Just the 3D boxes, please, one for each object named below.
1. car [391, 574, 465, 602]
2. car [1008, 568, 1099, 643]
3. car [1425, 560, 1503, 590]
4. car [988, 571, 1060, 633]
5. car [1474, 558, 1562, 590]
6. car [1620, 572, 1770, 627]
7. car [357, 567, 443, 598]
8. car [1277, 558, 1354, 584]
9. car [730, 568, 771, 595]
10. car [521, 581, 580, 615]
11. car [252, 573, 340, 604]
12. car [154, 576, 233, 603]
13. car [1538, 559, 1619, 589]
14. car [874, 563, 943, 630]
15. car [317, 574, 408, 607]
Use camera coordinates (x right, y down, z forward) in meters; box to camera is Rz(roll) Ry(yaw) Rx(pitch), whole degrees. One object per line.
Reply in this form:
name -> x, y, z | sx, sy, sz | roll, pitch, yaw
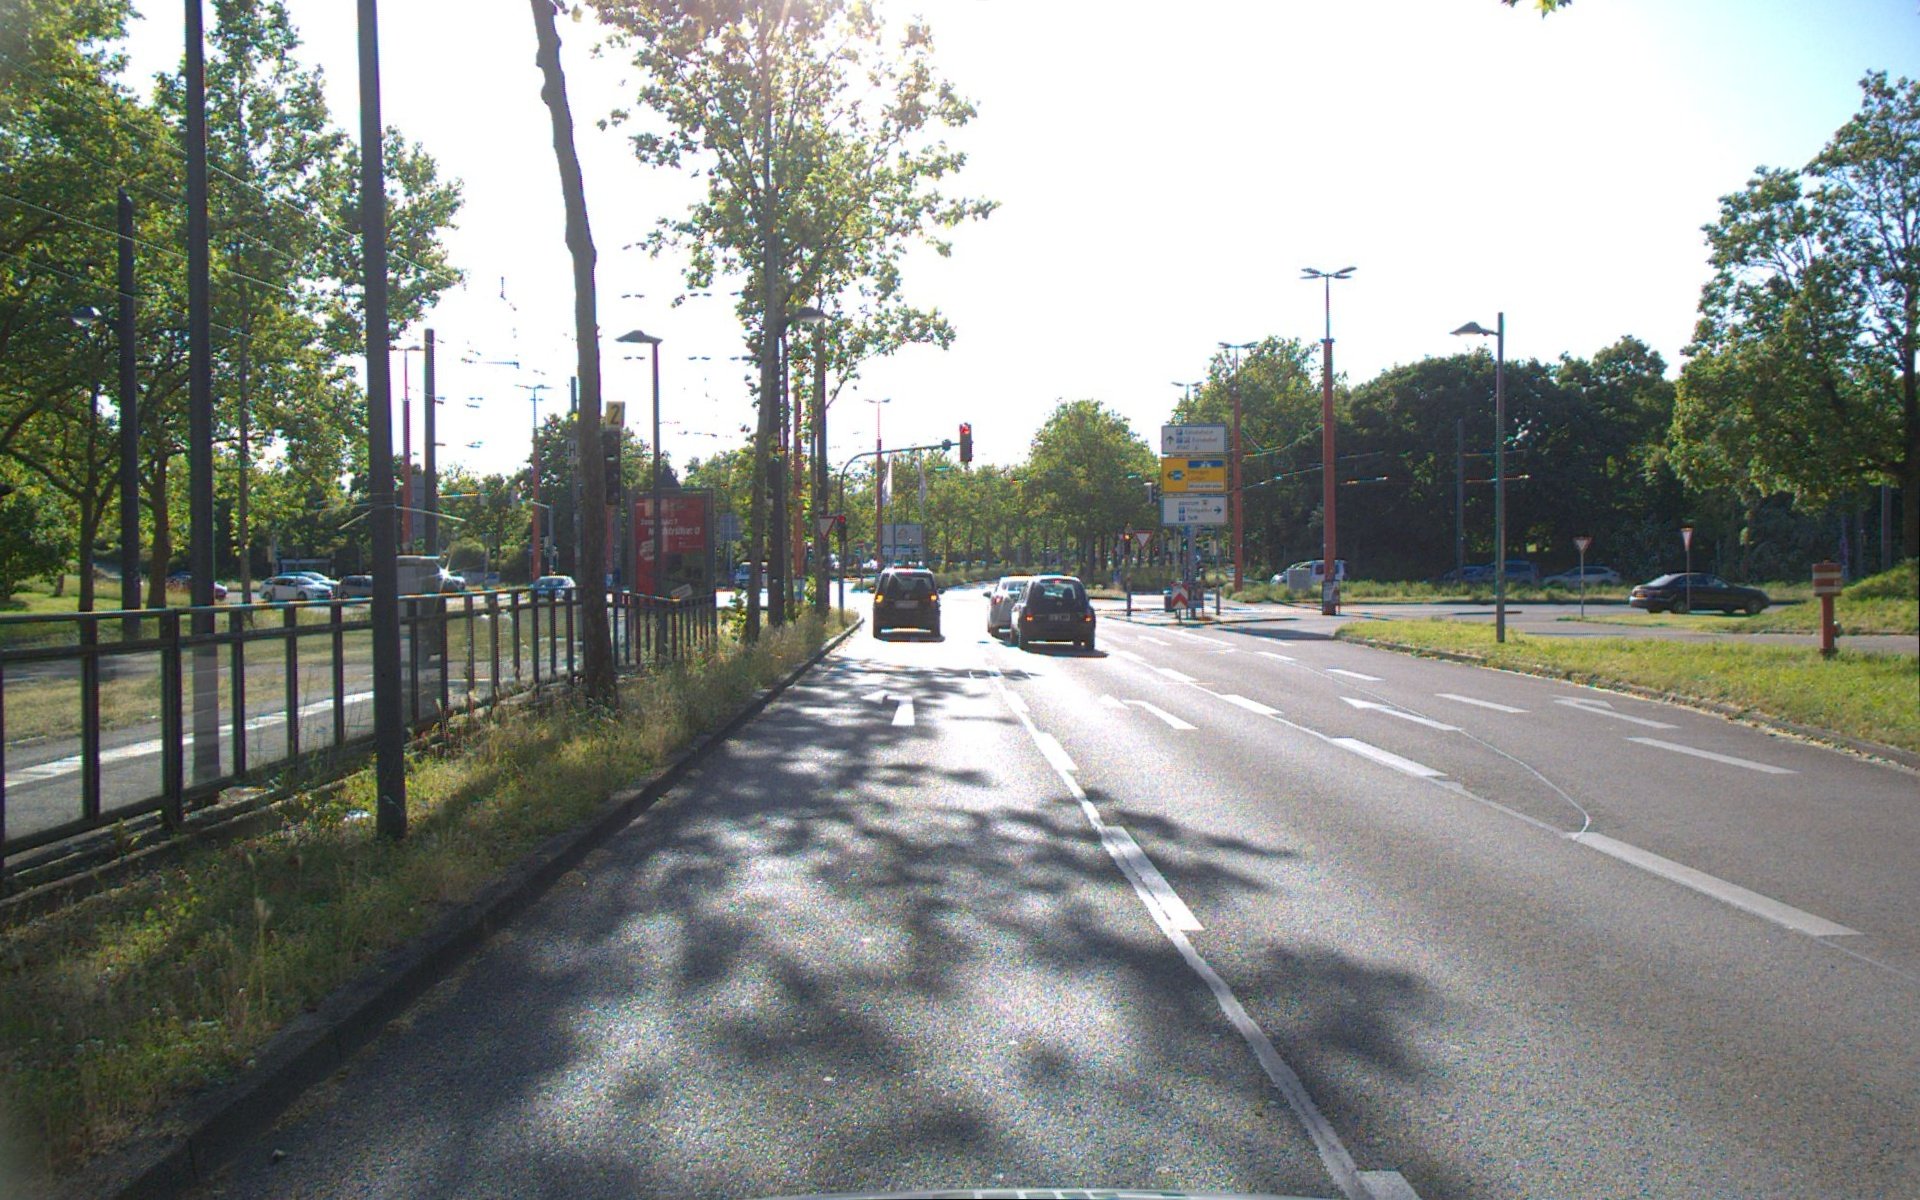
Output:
car -> -32.822, -0.746, 102.094 | 3.903, 1.649, 1.901 | -1, 1, 17
car -> 1.982, 0.079, 36.035 | 1.606, 1.520, 3.502 | 1, 1, -3
car -> 27.917, -1.409, 91.603 | 3.907, 1.588, 1.898 | 1, 0, 25
car -> 1.609, 0.031, 42.664 | 1.644, 1.500, 4.130 | 1, 0, -1
car -> 29.514, -1.378, 87.502 | 4.263, 1.586, 1.871 | 1, 0, 23
car -> 26.369, -0.034, 59.393 | 4.509, 1.823, 1.986 | 1, 0, -5
car -> -32.355, -1.039, 95.603 | 4.390, 1.638, 1.902 | -1, 3, 17
car -> 19.792, -1.610, 92.087 | 3.907, 1.361, 1.728 | 1, 0, 24
car -> -14.495, -1.243, 114.600 | 1.784, 1.811, 4.571 | 1, 0, 7
car -> -18.607, -0.117, 75.263 | 1.597, 1.475, 3.720 | 1, 0, 2
car -> -37.927, -0.643, 94.504 | 4.390, 1.639, 1.902 | -1, 2, 17
car -> -44.975, -0.634, 97.099 | 3.949, 1.461, 1.817 | -1, 3, 17
car -> 33.296, -1.392, 89.042 | 3.908, 1.521, 1.860 | 1, 0, 25
car -> -1.324, -0.098, 41.966 | 1.676, 1.631, 3.348 | 0, 0, -3
car -> -33.183, -0.534, 91.875 | 4.390, 1.638, 1.902 | -1, 3, 17
